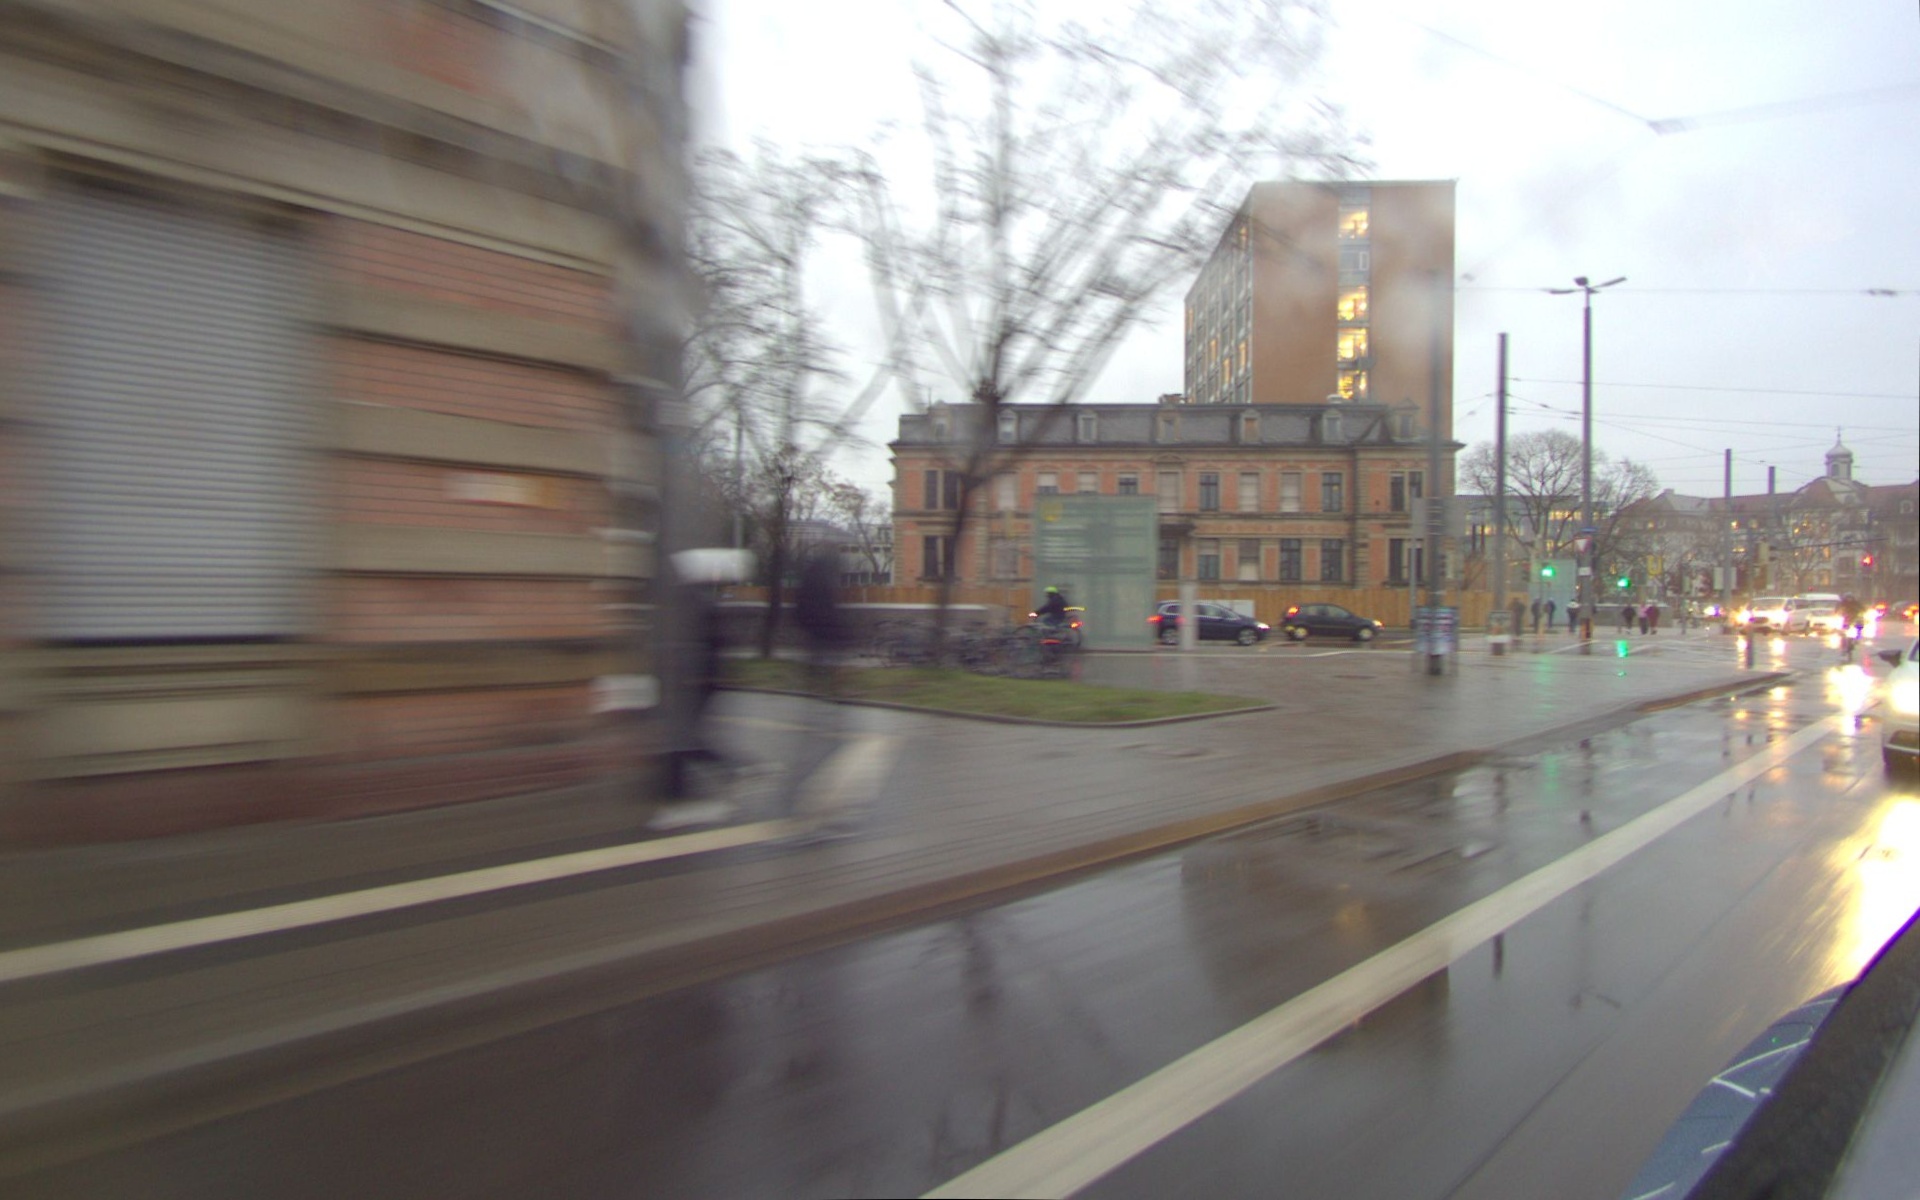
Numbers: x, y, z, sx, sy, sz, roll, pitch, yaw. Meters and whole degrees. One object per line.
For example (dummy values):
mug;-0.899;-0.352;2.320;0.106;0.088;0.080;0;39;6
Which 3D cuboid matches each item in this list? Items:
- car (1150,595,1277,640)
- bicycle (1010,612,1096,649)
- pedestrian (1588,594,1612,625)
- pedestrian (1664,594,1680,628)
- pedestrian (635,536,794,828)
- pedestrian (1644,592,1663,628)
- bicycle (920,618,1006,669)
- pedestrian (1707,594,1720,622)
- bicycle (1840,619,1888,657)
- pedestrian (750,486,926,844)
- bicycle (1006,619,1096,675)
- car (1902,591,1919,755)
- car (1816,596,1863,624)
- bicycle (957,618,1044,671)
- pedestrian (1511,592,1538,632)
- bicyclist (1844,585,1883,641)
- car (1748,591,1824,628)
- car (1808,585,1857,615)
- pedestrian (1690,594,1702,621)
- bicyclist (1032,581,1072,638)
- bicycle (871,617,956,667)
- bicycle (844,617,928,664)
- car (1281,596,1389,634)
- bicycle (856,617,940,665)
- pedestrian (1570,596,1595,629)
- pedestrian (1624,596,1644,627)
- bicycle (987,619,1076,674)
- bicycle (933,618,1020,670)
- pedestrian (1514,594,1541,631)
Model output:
car;9.290;0.611;37.371;4.311;1.608;1.887;0;0;6
bicycle;2.410;0.780;26.220;2.204;0.918;0.598;0;0;10
pedestrian;33.935;0.488;53.655;0.866;1.640;0.745;0;0;15
pedestrian;37.132;0.558;52.799;0.503;1.784;0.635;0;0;14
pedestrian;-1.434;0.434;5.900;0.698;1.568;0.633;0;0;-40
pedestrian;36.687;0.522;53.553;0.640;1.845;0.635;0;0;15
bicycle;0.084;0.856;20.493;1.909;0.965;0.455;0;0;-40
pedestrian;49.357;0.505;66.293;0.634;1.784;0.504;0;0;36
bicycle;25.546;1.058;28.589;2.173;1.003;0.725;0;0;-40
pedestrian;-0.698;0.331;5.739;0.698;1.848;0.753;0;0;-39
bicycle;1.711;0.853;18.756;1.909;0.965;0.455;0;0;-40
car;10.417;0.638;9.579;3.930;1.441;1.796;0;0;-41
car;50.169;0.563;57.813;1.819;1.527;3.752;0;0;38
bicycle;0.810;0.853;19.727;1.909;0.965;0.455;0;0;-40
pedestrian;22.958;0.476;41.180;0.808;1.640;0.745;0;0;15
bicyclist;25.530;0.366;28.588;0.771;1.553;0.727;0;0;-40
car;42.737;0.463;52.326;4.780;1.861;1.999;0;0;-37
car;56.587;-0.010;65.684;2.006;1.842;3.643;0;0;35
pedestrian;48.578;0.506;66.832;0.634;1.784;0.504;0;0;36
bicyclist;2.397;0.247;26.223;0.991;1.460;0.590;0;0;10
bicycle;-0.949;0.857;21.129;1.909;0.965;0.455;0;0;-40
bicycle;-1.588;0.856;21.980;1.909;0.965;0.455;0;0;-40
car;14.644;0.569;39.691;3.686;1.419;1.615;-1;0;9
bicycle;-1.301;0.859;21.527;1.909;0.965;0.455;0;0;-40
pedestrian;31.051;0.600;50.516;0.866;1.640;0.745;0;0;15
pedestrian;36.242;0.607;54.431;0.699;1.640;0.745;0;0;15
bicycle;1.367;0.855;19.170;1.909;0.965;0.455;0;0;-40
bicycle;0.345;0.855;20.000;1.909;0.965;0.455;0;0;-40
pedestrian;25.969;0.562;46.326;0.734;1.697;0.820;0;0;-32
